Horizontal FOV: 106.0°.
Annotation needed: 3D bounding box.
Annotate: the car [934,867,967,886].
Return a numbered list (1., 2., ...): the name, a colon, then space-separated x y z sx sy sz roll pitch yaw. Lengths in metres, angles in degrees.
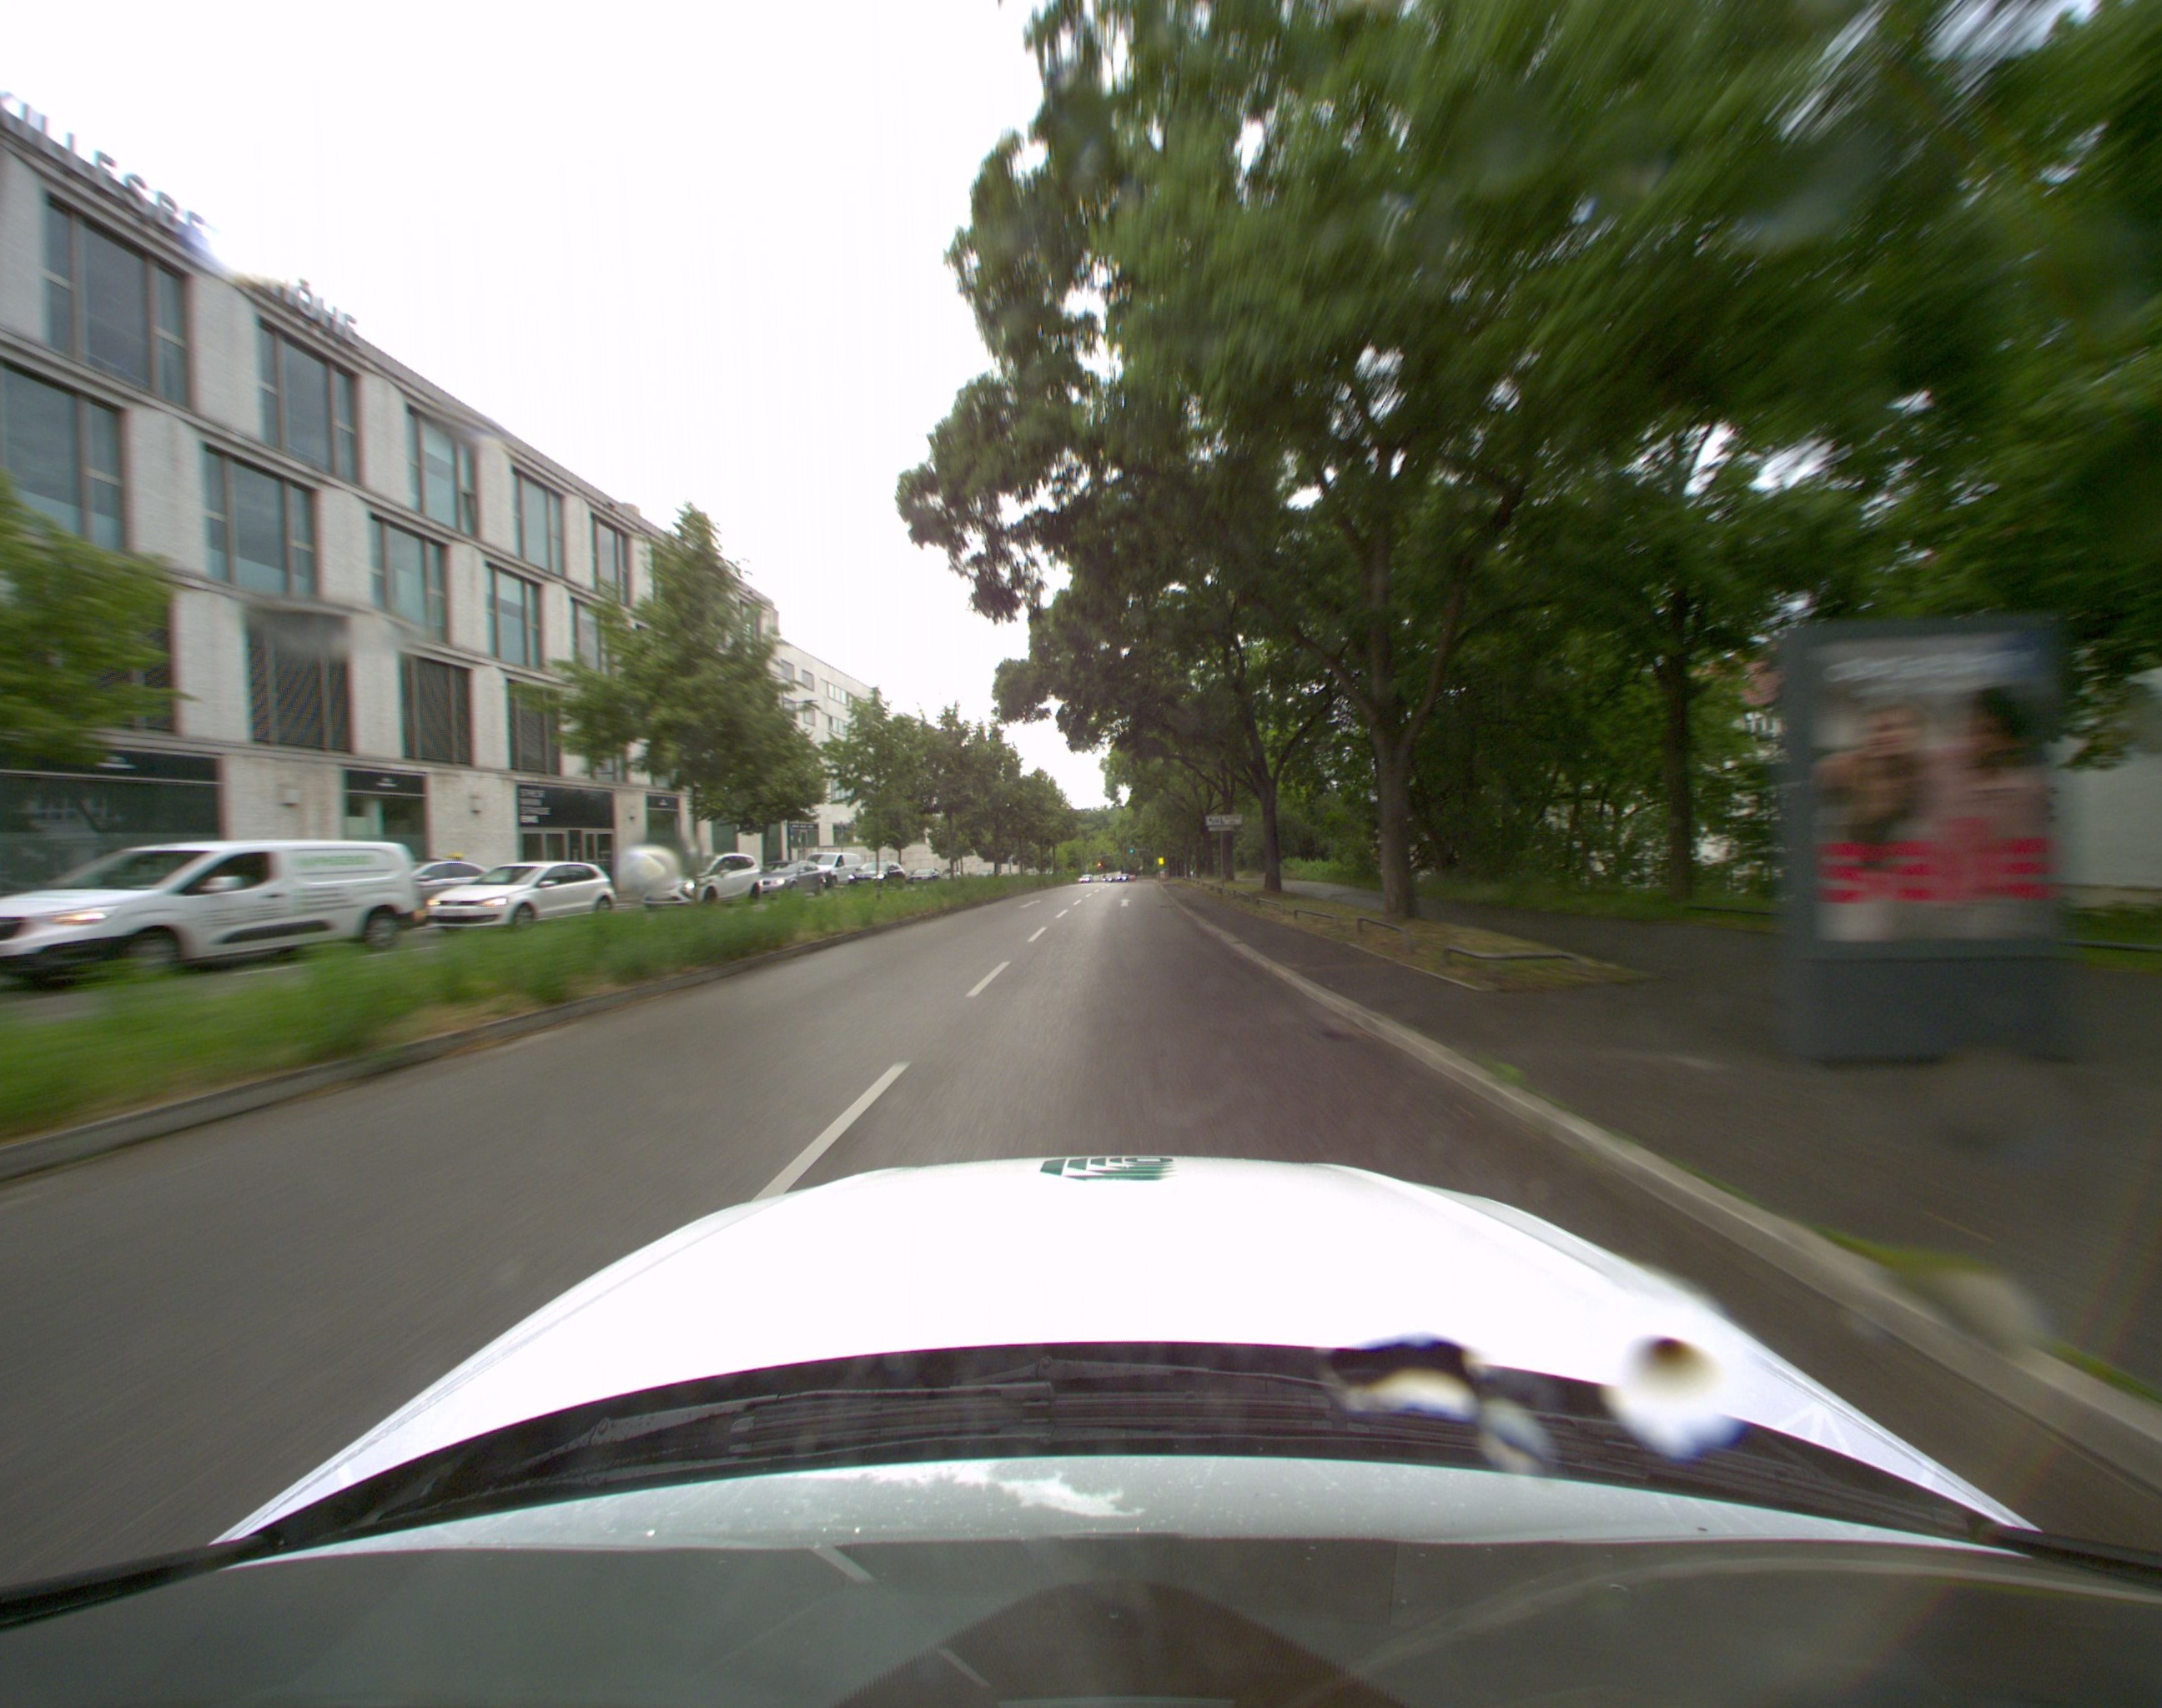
1. car: -10.776 1.859 67.640 1.686 1.444 3.867 -1 0 6

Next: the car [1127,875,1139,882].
1. car: 12.696 5.902 198.439 1.859 1.575 4.243 0 -1 20

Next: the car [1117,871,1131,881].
1. car: 9.675 4.980 184.074 1.905 1.857 4.526 -6 -2 17

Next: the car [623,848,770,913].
1. car: -11.381 0.713 24.551 1.820 1.600 4.681 -2 1 5

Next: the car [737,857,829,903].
1. car: -11.001 0.931 30.377 1.633 1.410 4.002 -2 1 5

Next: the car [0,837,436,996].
1. car: -12.355 0.679 11.855 1.835 1.802 4.780 0 2 5

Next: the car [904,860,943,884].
1. car: -11.378 1.272 59.060 1.687 1.581 4.023 -1 0 5

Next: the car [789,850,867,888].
1. car: -12.923 0.764 41.975 2.113 1.816 5.264 -1 -1 3

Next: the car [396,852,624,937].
1. car: -12.047 0.772 17.574 1.735 1.467 4.066 -2 1 5

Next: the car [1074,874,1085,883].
1. car: -0.241 4.816 158.537 1.702 1.747 4.341 -2 -2 3

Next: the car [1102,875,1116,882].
1. car: 5.916 5.249 172.765 1.756 1.381 4.209 -4 -2 18

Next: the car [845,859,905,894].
1. car: -10.174 1.084 40.548 1.687 1.581 4.021 -1 0 4

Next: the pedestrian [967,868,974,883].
1. pedestrian: -13.572 2.638 100.117 0.704 1.775 1.022 -2 -2 4
